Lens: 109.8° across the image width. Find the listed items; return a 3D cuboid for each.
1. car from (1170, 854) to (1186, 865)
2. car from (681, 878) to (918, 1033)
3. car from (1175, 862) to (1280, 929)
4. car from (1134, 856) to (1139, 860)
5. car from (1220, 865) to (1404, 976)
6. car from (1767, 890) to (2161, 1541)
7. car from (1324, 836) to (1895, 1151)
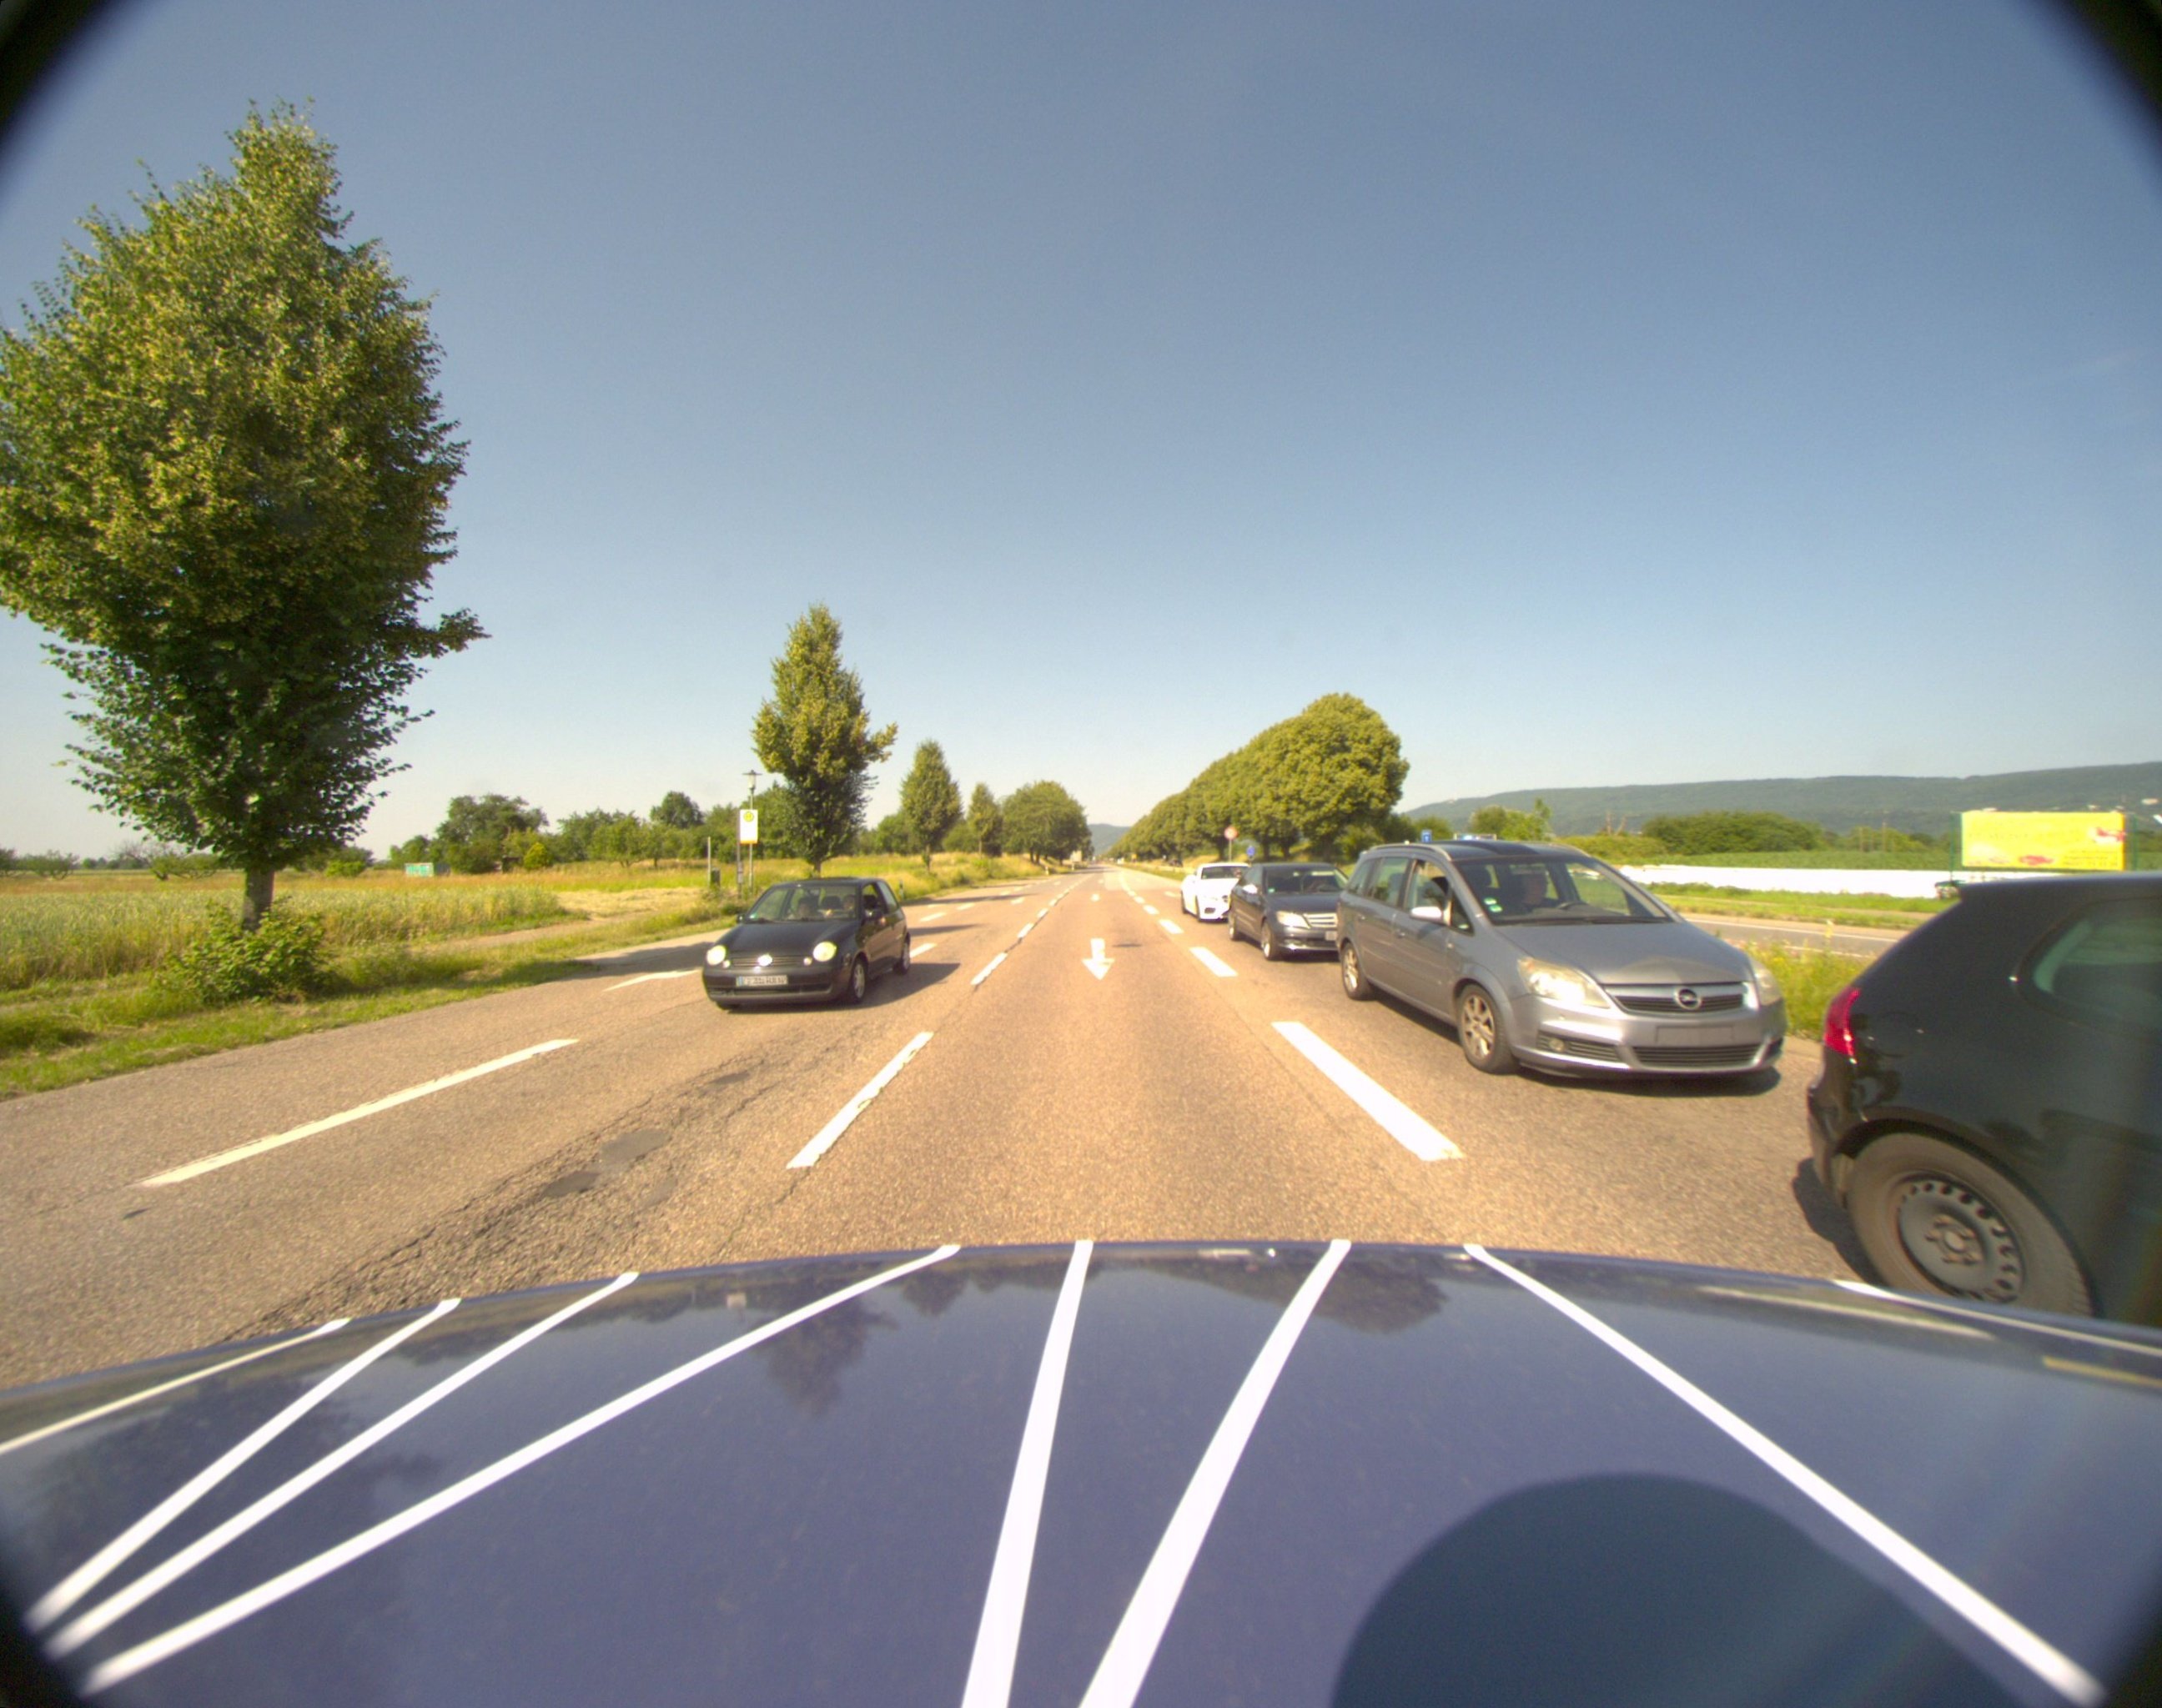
[{"bbox_3d":[15.882,0.908,124.860,1.998,1.830,4.954,1,0,1],"label":"car"},{"bbox_3d":[-3.267,1.095,9.577,1.629,1.425,3.622,-2,0,-1],"label":"car"},{"bbox_3d":[3.578,0.950,19.338,1.808,1.417,4.641,-2,0,1],"label":"car"},{"bbox_3d":[18.804,1.256,258.251,1.726,1.456,3.701,1,0,2],"label":"car"},{"bbox_3d":[3.495,0.922,12.358,1.718,1.402,4.355,-2,0,1],"label":"car"},{"bbox_3d":[3.348,0.868,0.760,1.670,1.466,4.098,-1,0,1],"label":"car"},{"bbox_3d":[3.557,0.774,6.300,1.745,1.662,4.357,-2,0,1],"label":"car"}]
